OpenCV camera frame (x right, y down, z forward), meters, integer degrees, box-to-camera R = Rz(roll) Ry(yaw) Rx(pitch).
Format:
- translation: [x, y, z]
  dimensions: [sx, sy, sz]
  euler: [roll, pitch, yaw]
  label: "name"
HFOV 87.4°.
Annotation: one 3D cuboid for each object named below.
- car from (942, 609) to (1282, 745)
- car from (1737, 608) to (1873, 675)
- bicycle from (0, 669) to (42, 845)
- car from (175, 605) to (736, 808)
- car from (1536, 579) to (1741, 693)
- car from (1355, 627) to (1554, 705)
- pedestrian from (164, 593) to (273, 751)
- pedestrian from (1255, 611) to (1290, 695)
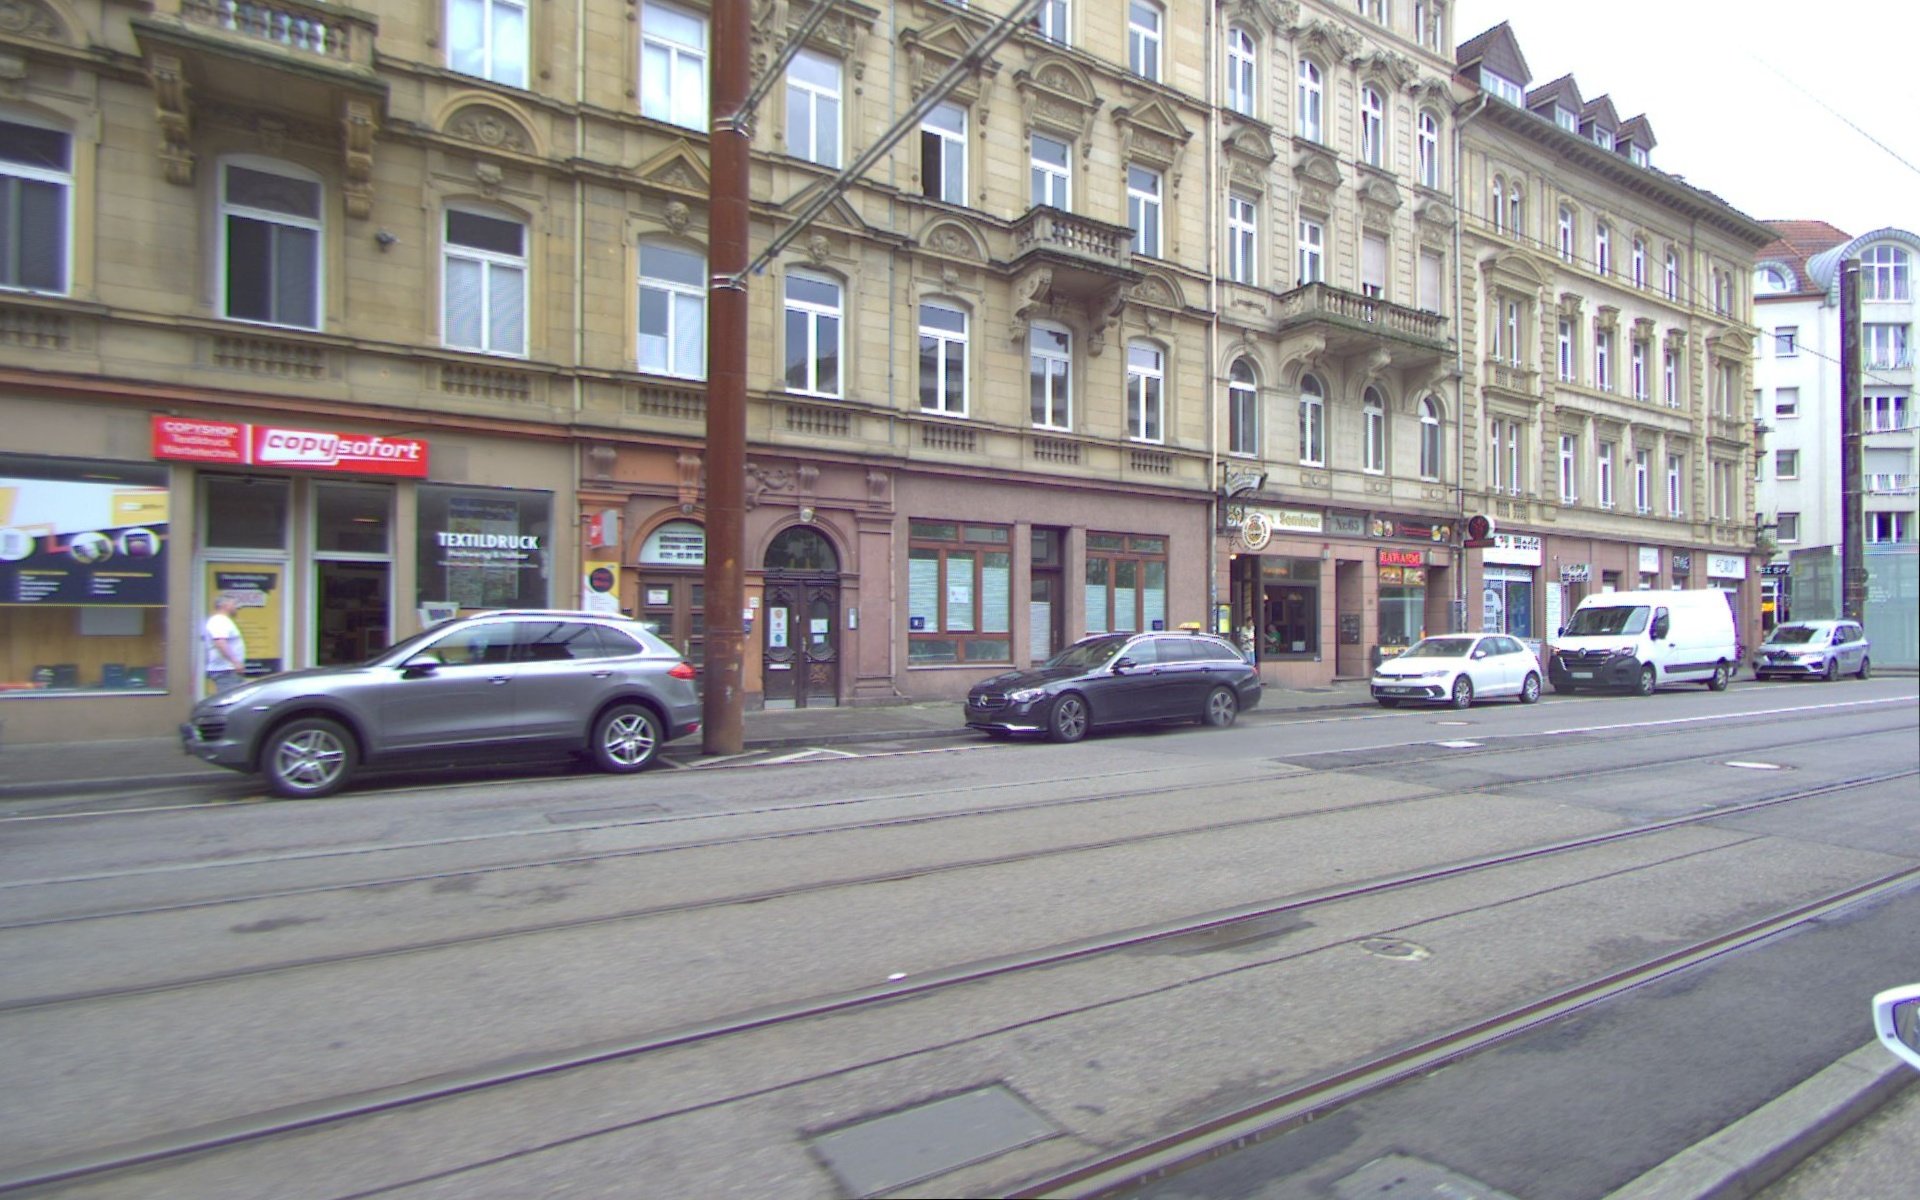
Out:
- translation: [2.354, 1.087, 14.939]
  dimensions: [4.998, 1.711, 1.909]
  euler: [1, -4, -33]
  label: "car"
- translation: [25.397, 1.255, 30.160]
  dimensions: [4.472, 1.889, 1.892]
  euler: [1, -4, -33]
  label: "car"
- translation: [-7.478, 1.067, 6.601]
  dimensions: [2.021, 1.189, 0.582]
  euler: [1, -3, -30]
  label: "bicycle"
- translation: [-5.070, 0.967, 10.646]
  dimensions: [4.980, 1.712, 1.802]
  euler: [1, -3, -35]
  label: "car"
- translation: [16.666, 0.912, 24.587]
  dimensions: [5.605, 2.519, 2.042]
  euler: [1, -4, -33]
  label: "car"
- translation: [10.086, 1.322, 20.429]
  dimensions: [4.120, 1.441, 1.761]
  euler: [1, -4, -33]
  label: "car"
- translation: [-8.812, 0.837, 11.956]
  dimensions: [0.769, 1.806, 0.655]
  euler: [1, -1, 5]
  label: "pedestrian"
- translation: [7.781, 1.299, 25.007]
  dimensions: [0.696, 2.040, 0.747]
  euler: [0, -1, 28]
  label: "pedestrian"
